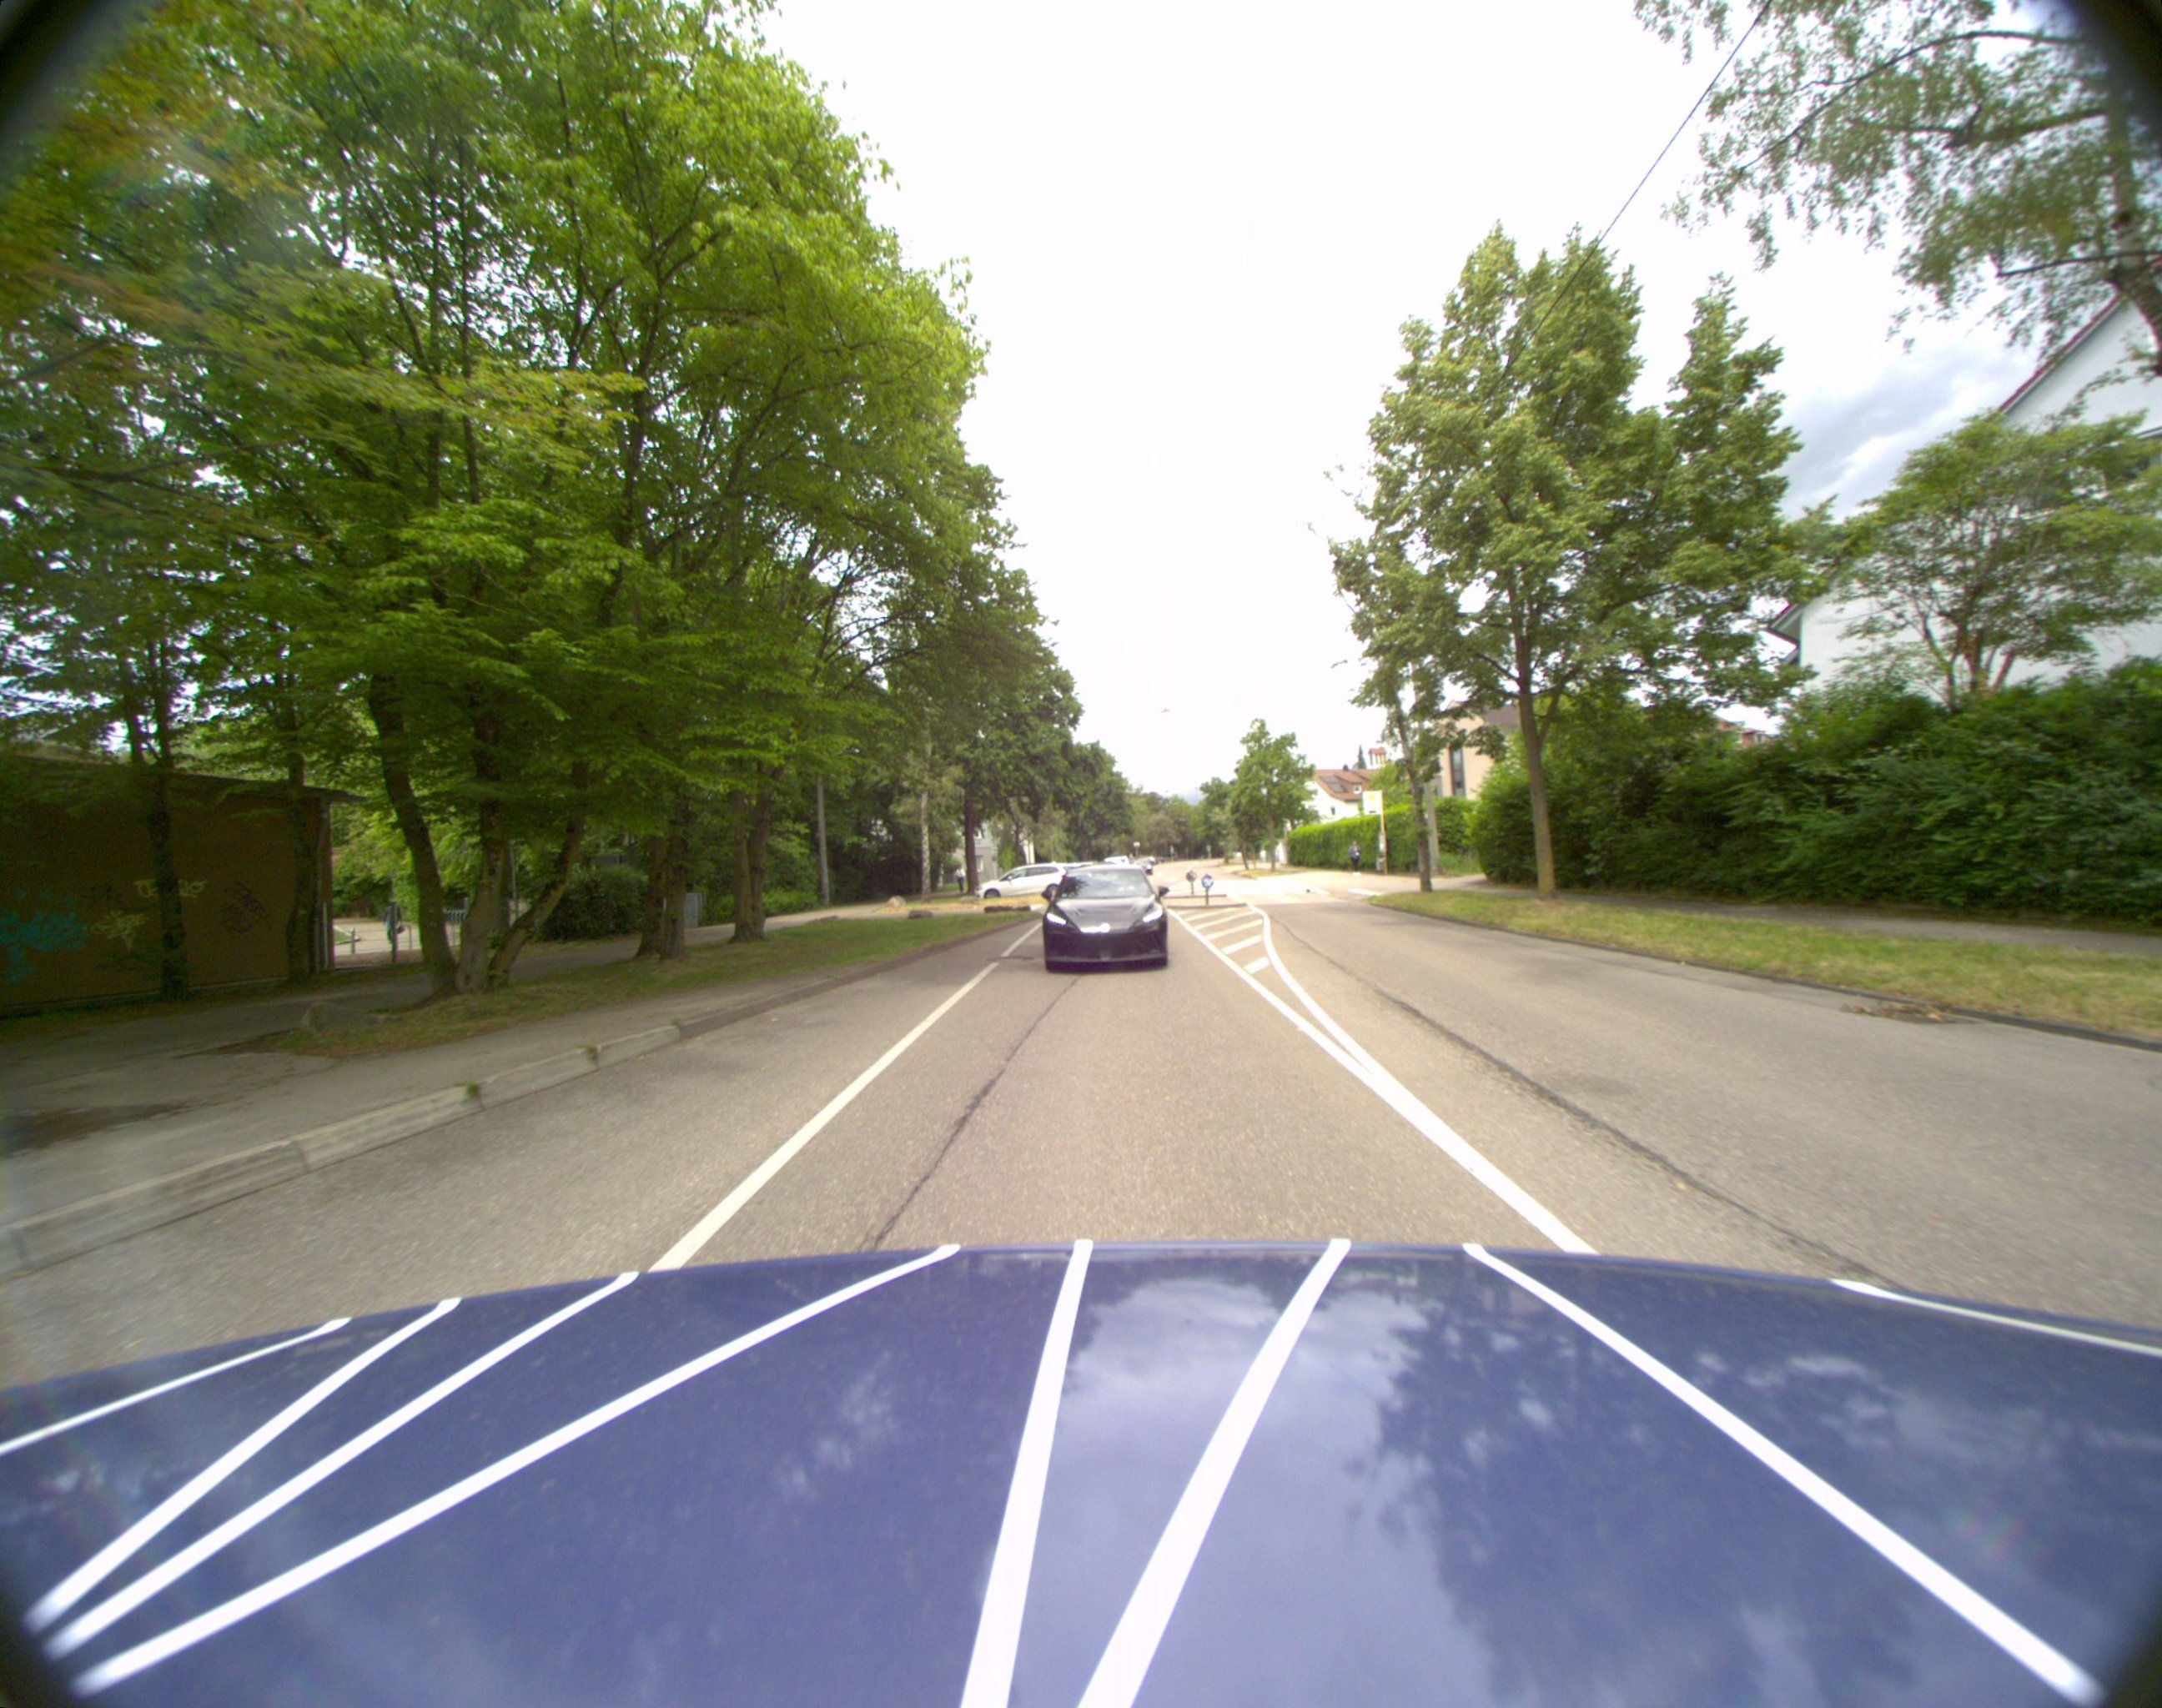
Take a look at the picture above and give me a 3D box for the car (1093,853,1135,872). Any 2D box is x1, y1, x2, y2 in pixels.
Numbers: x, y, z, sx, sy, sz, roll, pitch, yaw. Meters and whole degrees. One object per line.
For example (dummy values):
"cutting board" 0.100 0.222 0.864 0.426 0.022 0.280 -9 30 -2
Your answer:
"car" 3.695 0.973 85.888 4.224 1.748 1.857 -4 0 -15

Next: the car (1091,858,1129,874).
"car" 3.162 1.258 82.759 3.856 1.430 1.715 -4 0 -5

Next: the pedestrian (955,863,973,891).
"pedestrian" -7.232 1.429 46.990 0.692 1.634 0.779 -3 0 28

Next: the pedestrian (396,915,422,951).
"pedestrian" -19.825 2.325 22.417 0.399 1.023 0.401 -2 0 27

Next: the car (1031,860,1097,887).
"car" -1.142 1.294 50.714 4.002 1.455 1.794 -4 0 -16

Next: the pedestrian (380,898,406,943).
"pedestrian" -29.192 2.815 32.241 0.725 1.814 0.862 -3 0 -44

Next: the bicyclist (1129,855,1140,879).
"bicyclist" 4.101 0.996 58.162 0.647 1.768 0.628 -3 1 -2

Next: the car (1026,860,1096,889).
"car" -1.276 1.293 48.094 4.002 1.455 1.864 -4 0 -16

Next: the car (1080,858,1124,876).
"car" 1.989 1.252 72.350 3.858 1.426 1.713 -4 1 -16

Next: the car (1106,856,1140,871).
"car" 5.070 1.124 91.540 3.856 1.426 1.654 -4 0 -5

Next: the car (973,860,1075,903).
"car" -2.634 1.243 35.431 4.480 1.576 1.906 -4 0 -3

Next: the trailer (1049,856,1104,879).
"trailer" -0.368 1.038 59.003 4.000 1.543 1.658 -3 0 -9

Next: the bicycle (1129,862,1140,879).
"bicycle" 4.096 1.278 58.203 0.648 1.230 1.877 -3 0 -2

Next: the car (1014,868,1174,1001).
"car" 0.374 1.040 11.250 1.812 1.484 3.795 -3 0 8

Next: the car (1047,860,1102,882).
"car" -0.521 1.365 61.189 4.002 1.455 1.789 -4 0 -19

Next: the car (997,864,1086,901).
"car" -2.017 1.396 38.104 4.146 1.455 1.797 -4 0 -10

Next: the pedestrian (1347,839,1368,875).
"pedestrian" 13.708 0.155 37.659 0.693 1.701 0.778 -3 0 0

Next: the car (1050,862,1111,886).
"car" -0.033 1.456 56.340 4.003 1.455 1.848 -4 0 -21

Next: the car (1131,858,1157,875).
"car" 5.730 1.092 68.433 1.859 1.366 4.079 -3 0 10
